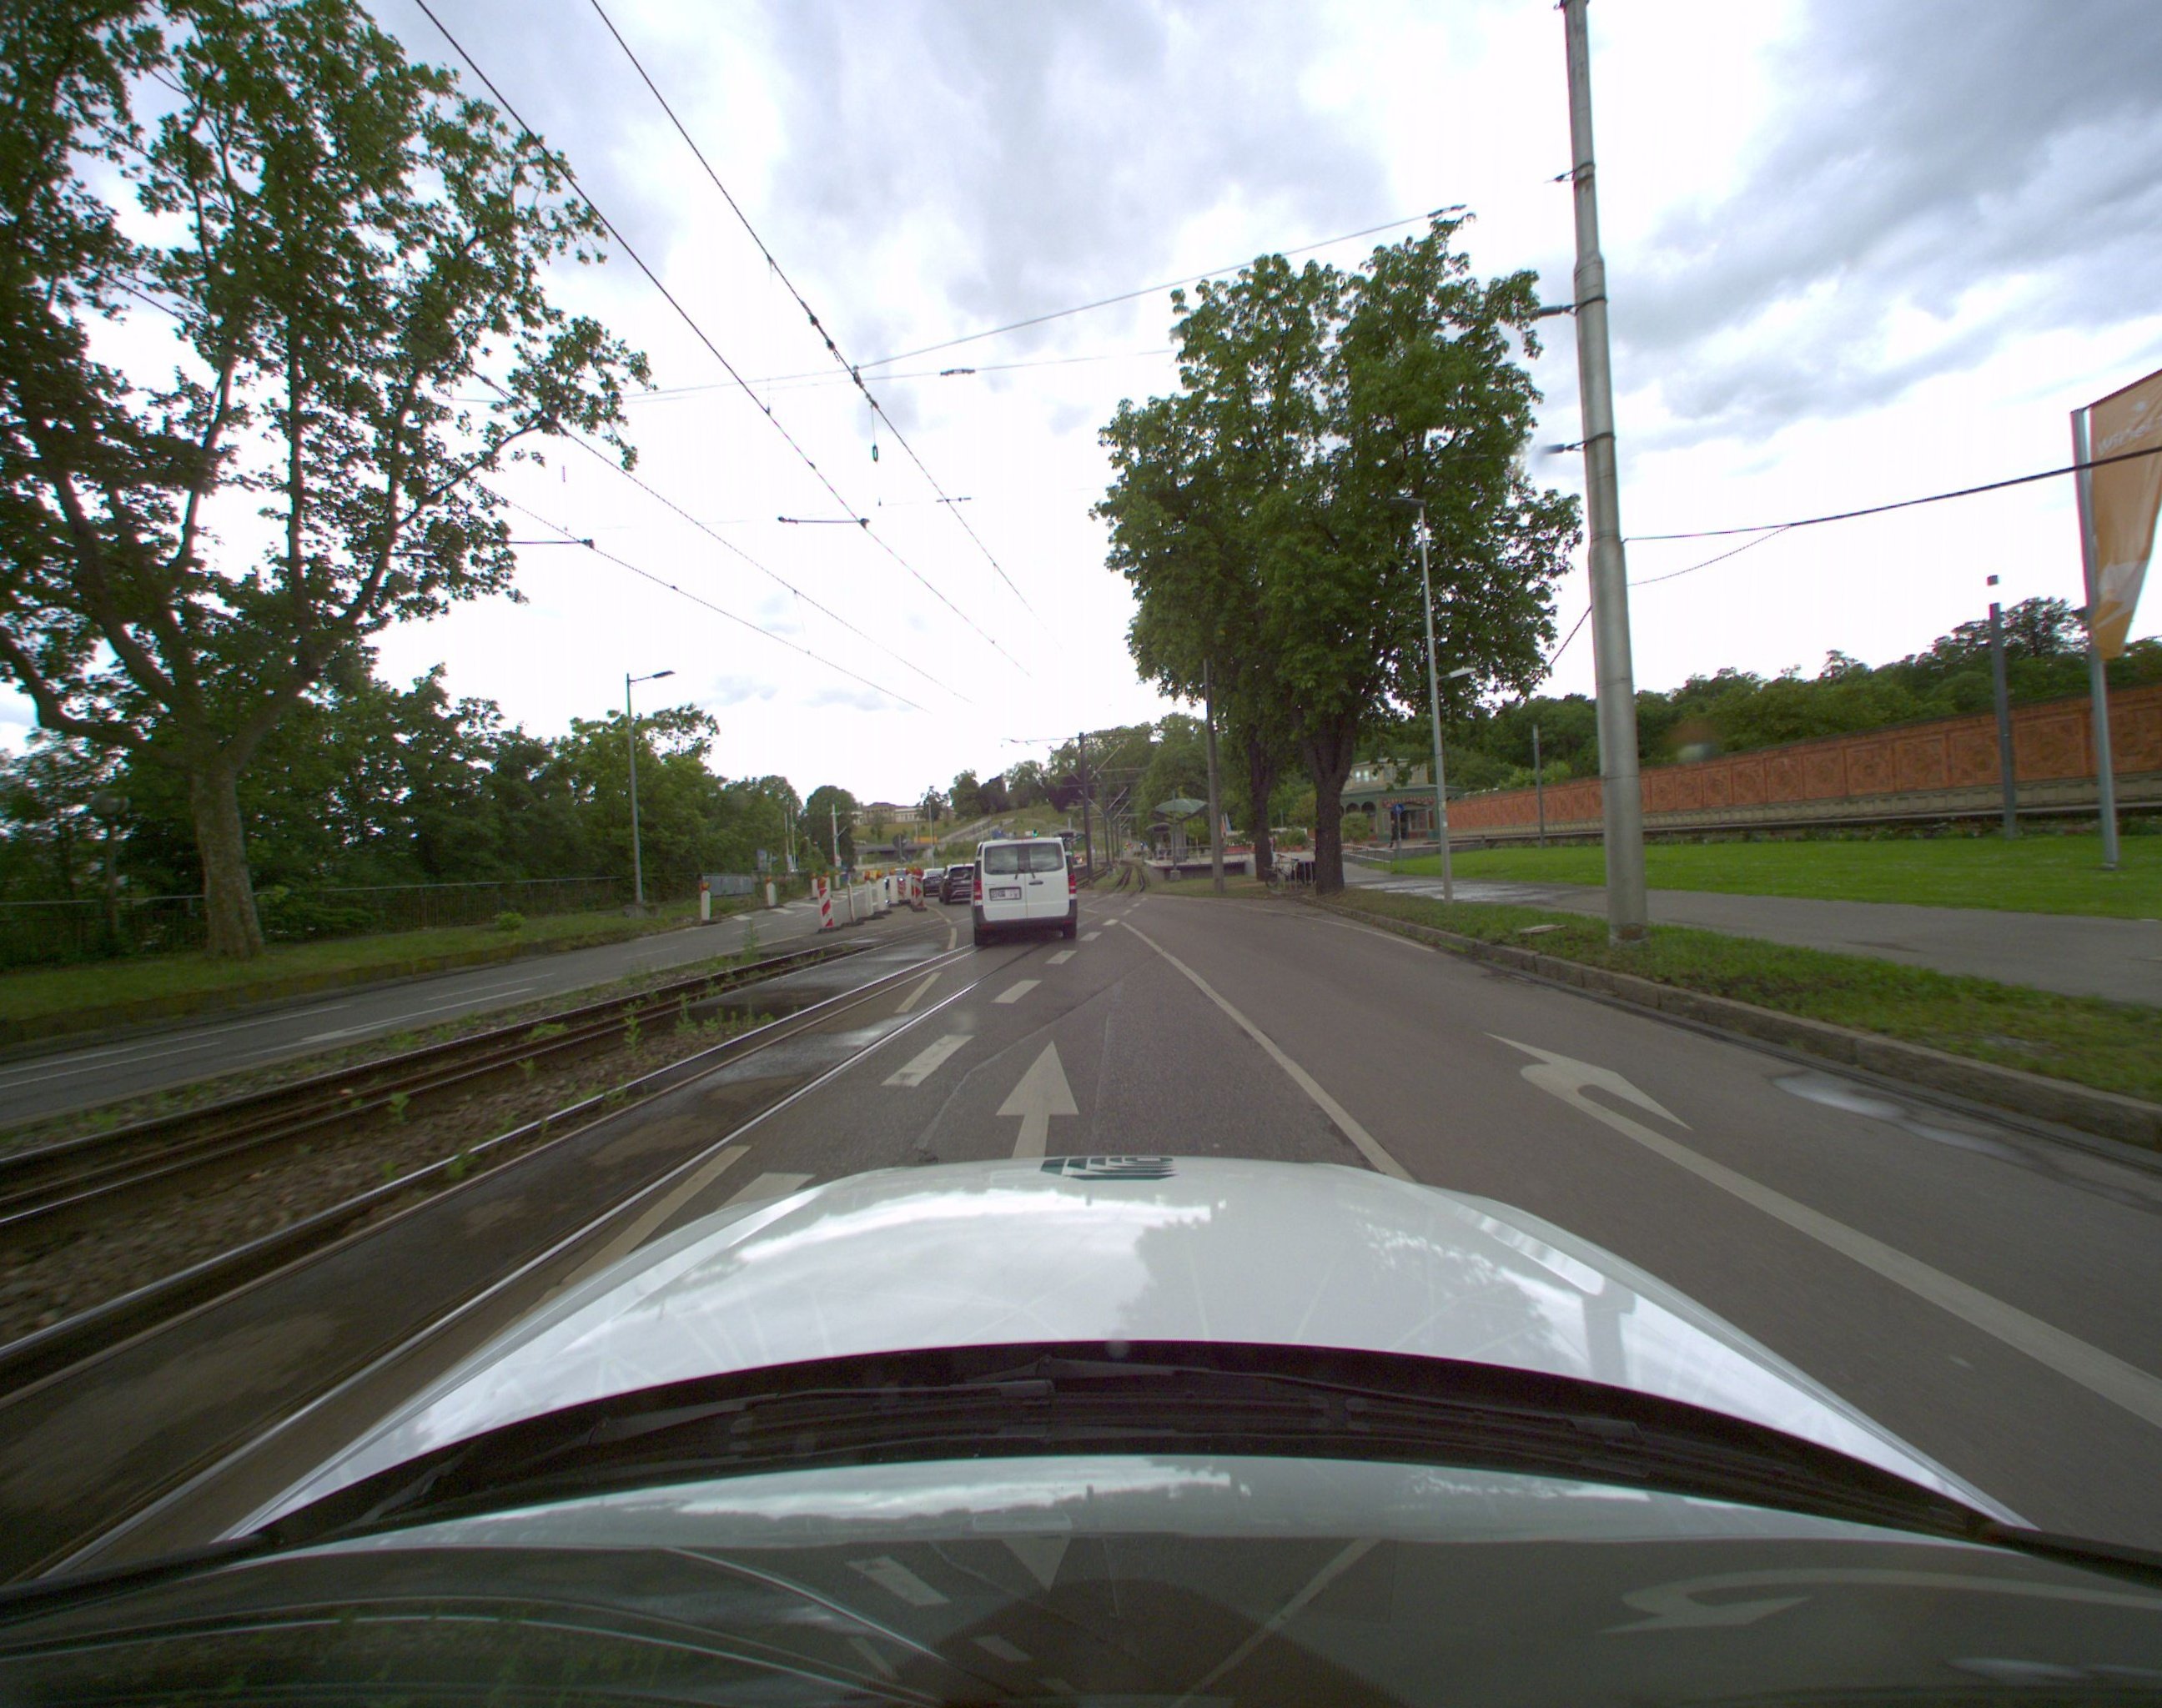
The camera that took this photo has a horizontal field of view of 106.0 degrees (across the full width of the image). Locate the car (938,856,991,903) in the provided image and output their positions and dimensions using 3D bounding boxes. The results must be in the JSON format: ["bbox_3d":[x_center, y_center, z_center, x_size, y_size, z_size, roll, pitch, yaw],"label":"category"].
[{"bbox_3d":[-4.669,0.984,33.243,1.835,1.729,4.055,-2,0,-5],"label":"car"}]

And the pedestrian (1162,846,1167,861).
[{"bbox_3d":[8.992,-0.053,87.439,0.522,1.620,0.676,-1,-1,5],"label":"pedestrian"}]

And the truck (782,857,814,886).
[{"bbox_3d":[-36.225,2.233,104.049,2.806,3.335,8.410,-5,1,-24],"label":"truck"}]

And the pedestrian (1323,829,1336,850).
[{"bbox_3d":[14.807,-0.849,48.515,0.547,1.201,0.668,-1,-1,-3],"label":"pedestrian"}]

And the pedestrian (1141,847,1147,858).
[{"bbox_3d":[7.688,-0.206,98.776,0.671,1.323,0.968,-1,-1,2],"label":"pedestrian"}]

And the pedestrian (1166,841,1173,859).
[{"bbox_3d":[9.205,-0.453,84.692,0.629,1.838,0.951,-2,-1,5],"label":"pedestrian"}]

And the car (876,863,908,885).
[{"bbox_3d":[-14.380,1.505,62.131,1.691,1.461,3.907,-4,1,-4],"label":"car"}]

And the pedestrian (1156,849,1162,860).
[{"bbox_3d":[8.524,0.091,89.137,0.654,1.191,0.676,-2,-1,5],"label":"pedestrian"}]

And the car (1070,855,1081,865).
[{"bbox_3d":[-1.144,1.220,173.981,2.195,2.013,5.147,-3,0,-2],"label":"car"}]

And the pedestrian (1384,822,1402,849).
[{"bbox_3d":[21.251,-1.249,55.525,0.553,1.838,0.940,-1,-1,-44],"label":"pedestrian"}]

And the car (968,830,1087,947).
[{"bbox_3d":[-1.186,0.596,16.040,1.958,1.904,4.449,-2,0,-7],"label":"car"}]

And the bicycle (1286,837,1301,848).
[{"bbox_3d":[22.676,-1.246,87.087,0.565,1.061,1.700,-1,-1,-27],"label":"bicycle"}]

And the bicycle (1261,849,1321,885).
[{"bbox_3d":[7.616,0.461,29.629,1.980,1.157,0.742,-4,-1,8],"label":"bicycle"}]

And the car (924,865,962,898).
[{"bbox_3d":[-7.278,1.427,43.299,1.838,1.582,4.050,-2,0,-9],"label":"car"}]

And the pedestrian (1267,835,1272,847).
[{"bbox_3d":[22.427,-1.541,96.672,0.482,1.487,0.460,-2,-1,6],"label":"pedestrian"}]

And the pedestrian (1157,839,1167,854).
[{"bbox_3d":[8.806,-0.814,88.656,0.859,1.677,0.760,-1,-1,-7],"label":"pedestrian"}]
